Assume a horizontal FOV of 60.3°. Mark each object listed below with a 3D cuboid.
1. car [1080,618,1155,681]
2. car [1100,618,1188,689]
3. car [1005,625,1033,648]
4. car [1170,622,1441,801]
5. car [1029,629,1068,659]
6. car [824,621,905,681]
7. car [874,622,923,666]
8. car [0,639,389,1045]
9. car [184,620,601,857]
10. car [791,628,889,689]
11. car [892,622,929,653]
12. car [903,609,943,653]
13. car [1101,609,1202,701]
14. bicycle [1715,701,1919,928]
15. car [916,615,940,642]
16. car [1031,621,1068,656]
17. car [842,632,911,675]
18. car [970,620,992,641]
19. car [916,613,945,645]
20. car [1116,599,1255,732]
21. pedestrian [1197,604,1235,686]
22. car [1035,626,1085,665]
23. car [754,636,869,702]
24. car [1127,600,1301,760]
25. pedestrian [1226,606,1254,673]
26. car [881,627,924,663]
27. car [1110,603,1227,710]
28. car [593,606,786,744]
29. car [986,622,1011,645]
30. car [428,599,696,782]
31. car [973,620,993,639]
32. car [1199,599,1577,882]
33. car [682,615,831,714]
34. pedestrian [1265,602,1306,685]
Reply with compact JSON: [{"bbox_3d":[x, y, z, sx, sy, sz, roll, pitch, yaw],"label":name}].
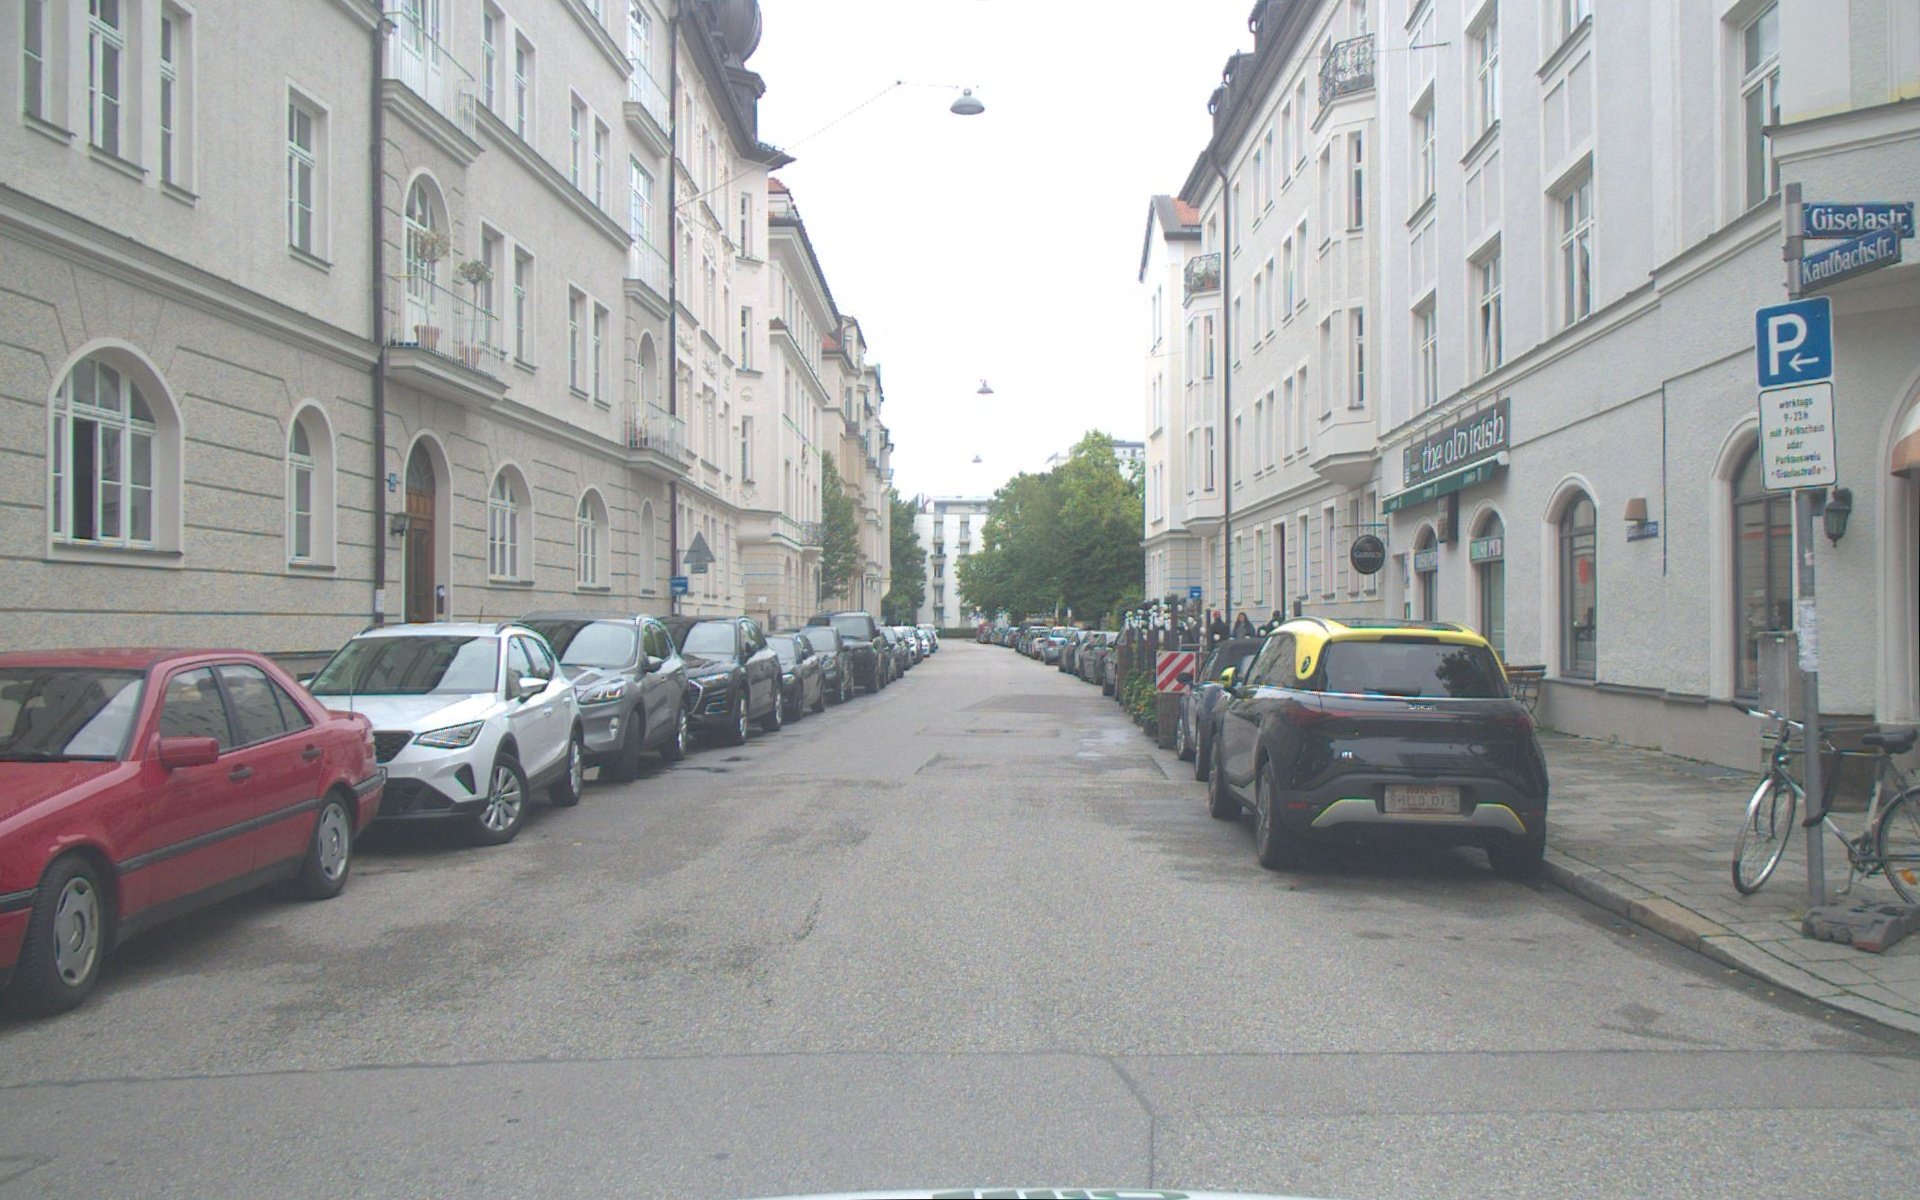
[{"bbox_3d":[4.518,1.399,47.996,1.952,1.723,4.172,0,-1,2],"label":"car"},{"bbox_3d":[4.605,1.308,41.863,1.952,1.723,4.172,0,-1,2],"label":"car"},{"bbox_3d":[4.494,2.790,126.091,1.910,1.681,3.999,-1,-1,-1],"label":"car"},{"bbox_3d":[3.387,1.030,17.123,1.935,1.524,4.638,2,-1,2],"label":"car"},{"bbox_3d":[4.316,2.142,81.094,1.694,1.442,3.851,0,-1,-1],"label":"car"},{"bbox_3d":[-2.472,1.314,43.540,1.698,1.490,4.001,0,-1,3],"label":"car"},{"bbox_3d":[-2.306,1.654,62.698,1.783,1.601,3.999,0,-1,-1],"label":"car"},{"bbox_3d":[-4.270,0.909,7.769,1.695,1.402,4.226,0,-1,0],"label":"car"},{"bbox_3d":[-4.084,0.906,12.702,1.954,1.499,4.215,0,-1,-4],"label":"car"},{"bbox_3d":[-2.789,1.354,39.355,1.867,1.352,4.001,0,-1,2],"label":"car"},{"bbox_3d":[-2.667,2.011,89.817,1.953,1.601,3.999,0,-1,-1],"label":"car"},{"bbox_3d":[-1.736,1.473,79.038,1.808,2.049,4.000,0,-1,0],"label":"car"},{"bbox_3d":[4.106,1.159,36.026,1.782,1.819,4.184,2,-1,2],"label":"car"},{"bbox_3d":[4.800,1.088,8.519,0.531,1.016,1.744,-3,0,-21],"label":"bicycle"},{"bbox_3d":[-2.457,2.211,129.008,1.808,2.049,4.000,0,-1,0],"label":"car"},{"bbox_3d":[5.322,2.268,99.150,1.953,2.017,4.892,0,-1,0],"label":"car"},{"bbox_3d":[-2.551,1.623,51.119,1.867,1.243,4.000,0,-1,1],"label":"car"},{"bbox_3d":[2.055,3.044,165.554,1.953,2.017,4.891,0,-1,-2],"label":"car"},{"bbox_3d":[-1.925,1.889,107.752,1.808,2.049,4.000,0,-1,0],"label":"car"},{"bbox_3d":[3.619,1.013,27.145,1.782,1.957,4.184,2,-1,2],"label":"car"},{"bbox_3d":[5.966,1.033,38.607,0.762,1.883,1.023,0,-1,2],"label":"pedestrian"},{"bbox_3d":[4.214,1.922,70.367,1.867,1.604,3.999,0,-1,-1],"label":"car"},{"bbox_3d":[-3.015,1.388,34.419,1.867,1.243,4.001,0,-1,2],"label":"car"},{"bbox_3d":[3.345,1.008,22.497,1.782,1.903,4.289,2,-1,2],"label":"car"},{"bbox_3d":[7.946,1.104,46.929,0.761,1.883,0.860,0,-1,9],"label":"pedestrian"},{"bbox_3d":[-2.365,1.838,68.657,1.698,1.444,3.999,0,-1,-1],"label":"car"},{"bbox_3d":[3.896,1.016,31.505,1.952,1.889,4.347,0,-1,4],"label":"car"},{"bbox_3d":[-3.561,0.952,22.563,1.953,1.705,4.288,0,-1,0],"label":"car"},{"bbox_3d":[3.144,2.765,136.477,1.953,1.820,4.064,0,-1,-1],"label":"car"},{"bbox_3d":[-4.042,0.870,17.500,1.953,1.705,4.011,0,-1,-2],"label":"car"},{"bbox_3d":[2.490,3.114,177.397,1.953,2.017,4.891,0,-1,-2],"label":"car"},{"bbox_3d":[2.930,0.881,12.271,1.782,1.665,4.289,2,-1,2],"label":"car"},{"bbox_3d":[-3.433,1.054,28.612,1.885,1.573,4.001,0,-1,3],"label":"car"},{"bbox_3d":[7.485,0.987,38.068,0.762,1.883,1.023,0,-1,2],"label":"pedestrian"}]
